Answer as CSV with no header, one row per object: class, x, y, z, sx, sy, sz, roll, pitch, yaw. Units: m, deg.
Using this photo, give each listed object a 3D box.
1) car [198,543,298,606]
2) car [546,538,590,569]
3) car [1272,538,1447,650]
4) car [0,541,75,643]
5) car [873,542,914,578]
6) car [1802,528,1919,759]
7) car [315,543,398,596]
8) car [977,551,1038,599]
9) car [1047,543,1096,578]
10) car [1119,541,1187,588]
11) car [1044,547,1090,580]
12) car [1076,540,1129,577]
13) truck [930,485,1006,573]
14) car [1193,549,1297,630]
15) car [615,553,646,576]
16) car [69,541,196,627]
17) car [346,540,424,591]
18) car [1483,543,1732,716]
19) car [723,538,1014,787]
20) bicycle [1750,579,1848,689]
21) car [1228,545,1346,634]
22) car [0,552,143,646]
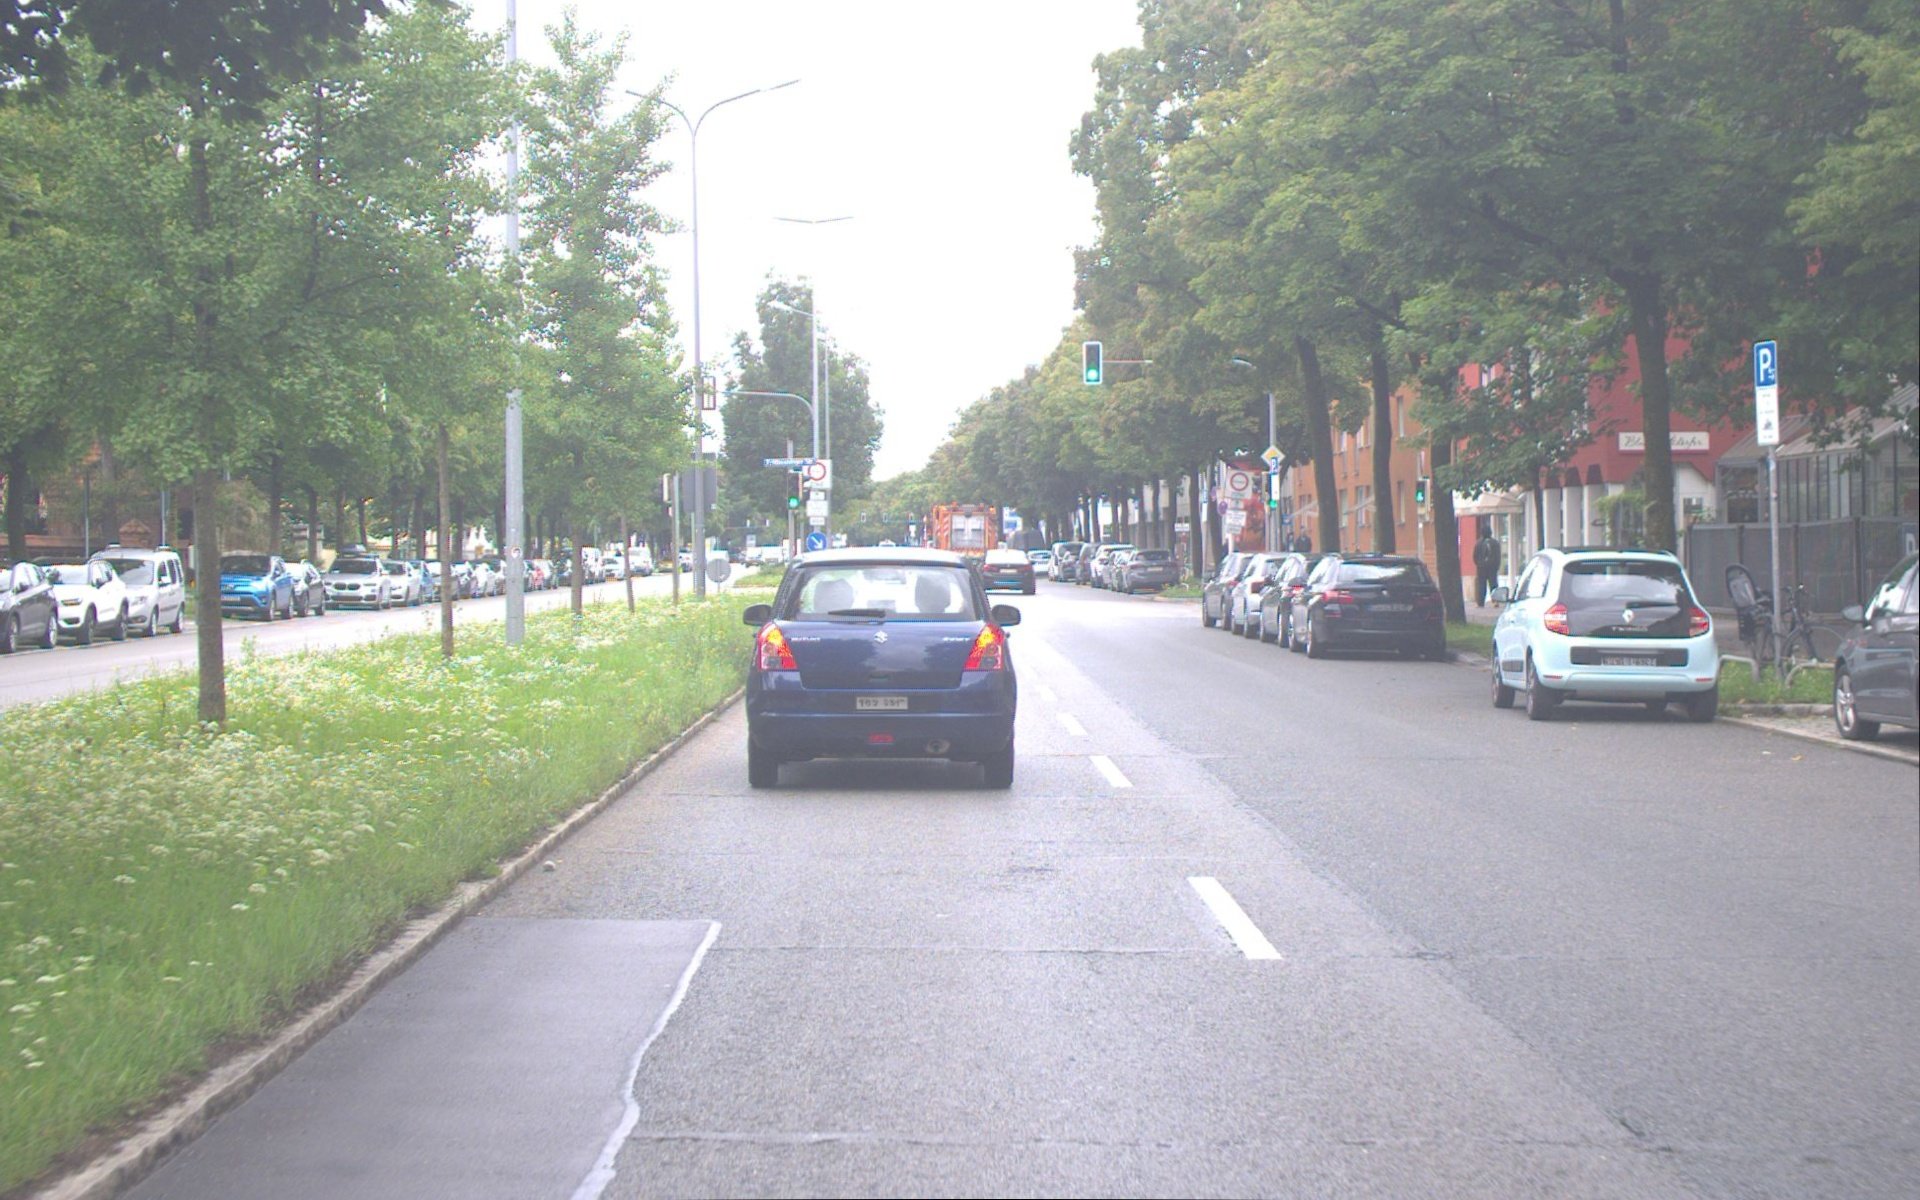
car,-17.769,-0.659,85.939,1.706,1.529,4.000,0,1,-1
car,-19.741,-2.350,173.257,1.801,1.529,4.000,0,1,-1
car,5.543,-0.124,48.187,1.653,1.447,4.709,-1,1,-3
car,-17.375,-0.176,61.357,2.185,1.730,4.579,0,1,-3
car,-2.844,-1.720,147.183,1.718,1.495,4.301,0,1,-1
car,7.733,0.273,25.696,1.815,1.620,4.308,-2,1,1
car,-18.039,-0.927,102.878,1.801,1.529,4.000,0,1,-1
car,1.528,-0.835,112.511,1.821,1.472,4.691,2,1,-1
car,5.022,-1.786,155.282,1.993,1.525,4.000,0,1,-1
car,6.421,-1.192,114.653,1.993,1.525,4.000,0,1,-1
car,4.989,-1.724,160.560,1.993,1.525,4.000,1,1,-1
car,5.920,-1.729,143.263,1.993,1.525,4.000,0,1,-1
truck,0.345,-2.983,145.244,3.041,3.545,13.675,0,1,0
car,5.319,-0.221,64.512,1.695,1.447,4.123,0,1,1
car,-22.407,-2.448,233.978,1.801,1.529,4.000,0,1,-1
car,-17.255,-0.363,71.820,1.706,1.728,4.000,0,1,-1
car,-17.924,-1.086,107.269,1.801,1.529,4.000,0,1,-1
car,5.925,0.226,31.831,1.653,1.447,4.000,-1,1,2
car,-0.542,0.343,22.715,1.753,1.499,4.000,0,1,0
bicycle,7.818,0.303,32.085,0.448,0.977,1.799,0,1,-1
car,5.548,-0.212,58.760,1.695,1.447,4.123,0,1,1
car,-17.359,-0.052,66.613,2.185,1.730,4.579,0,1,-3
